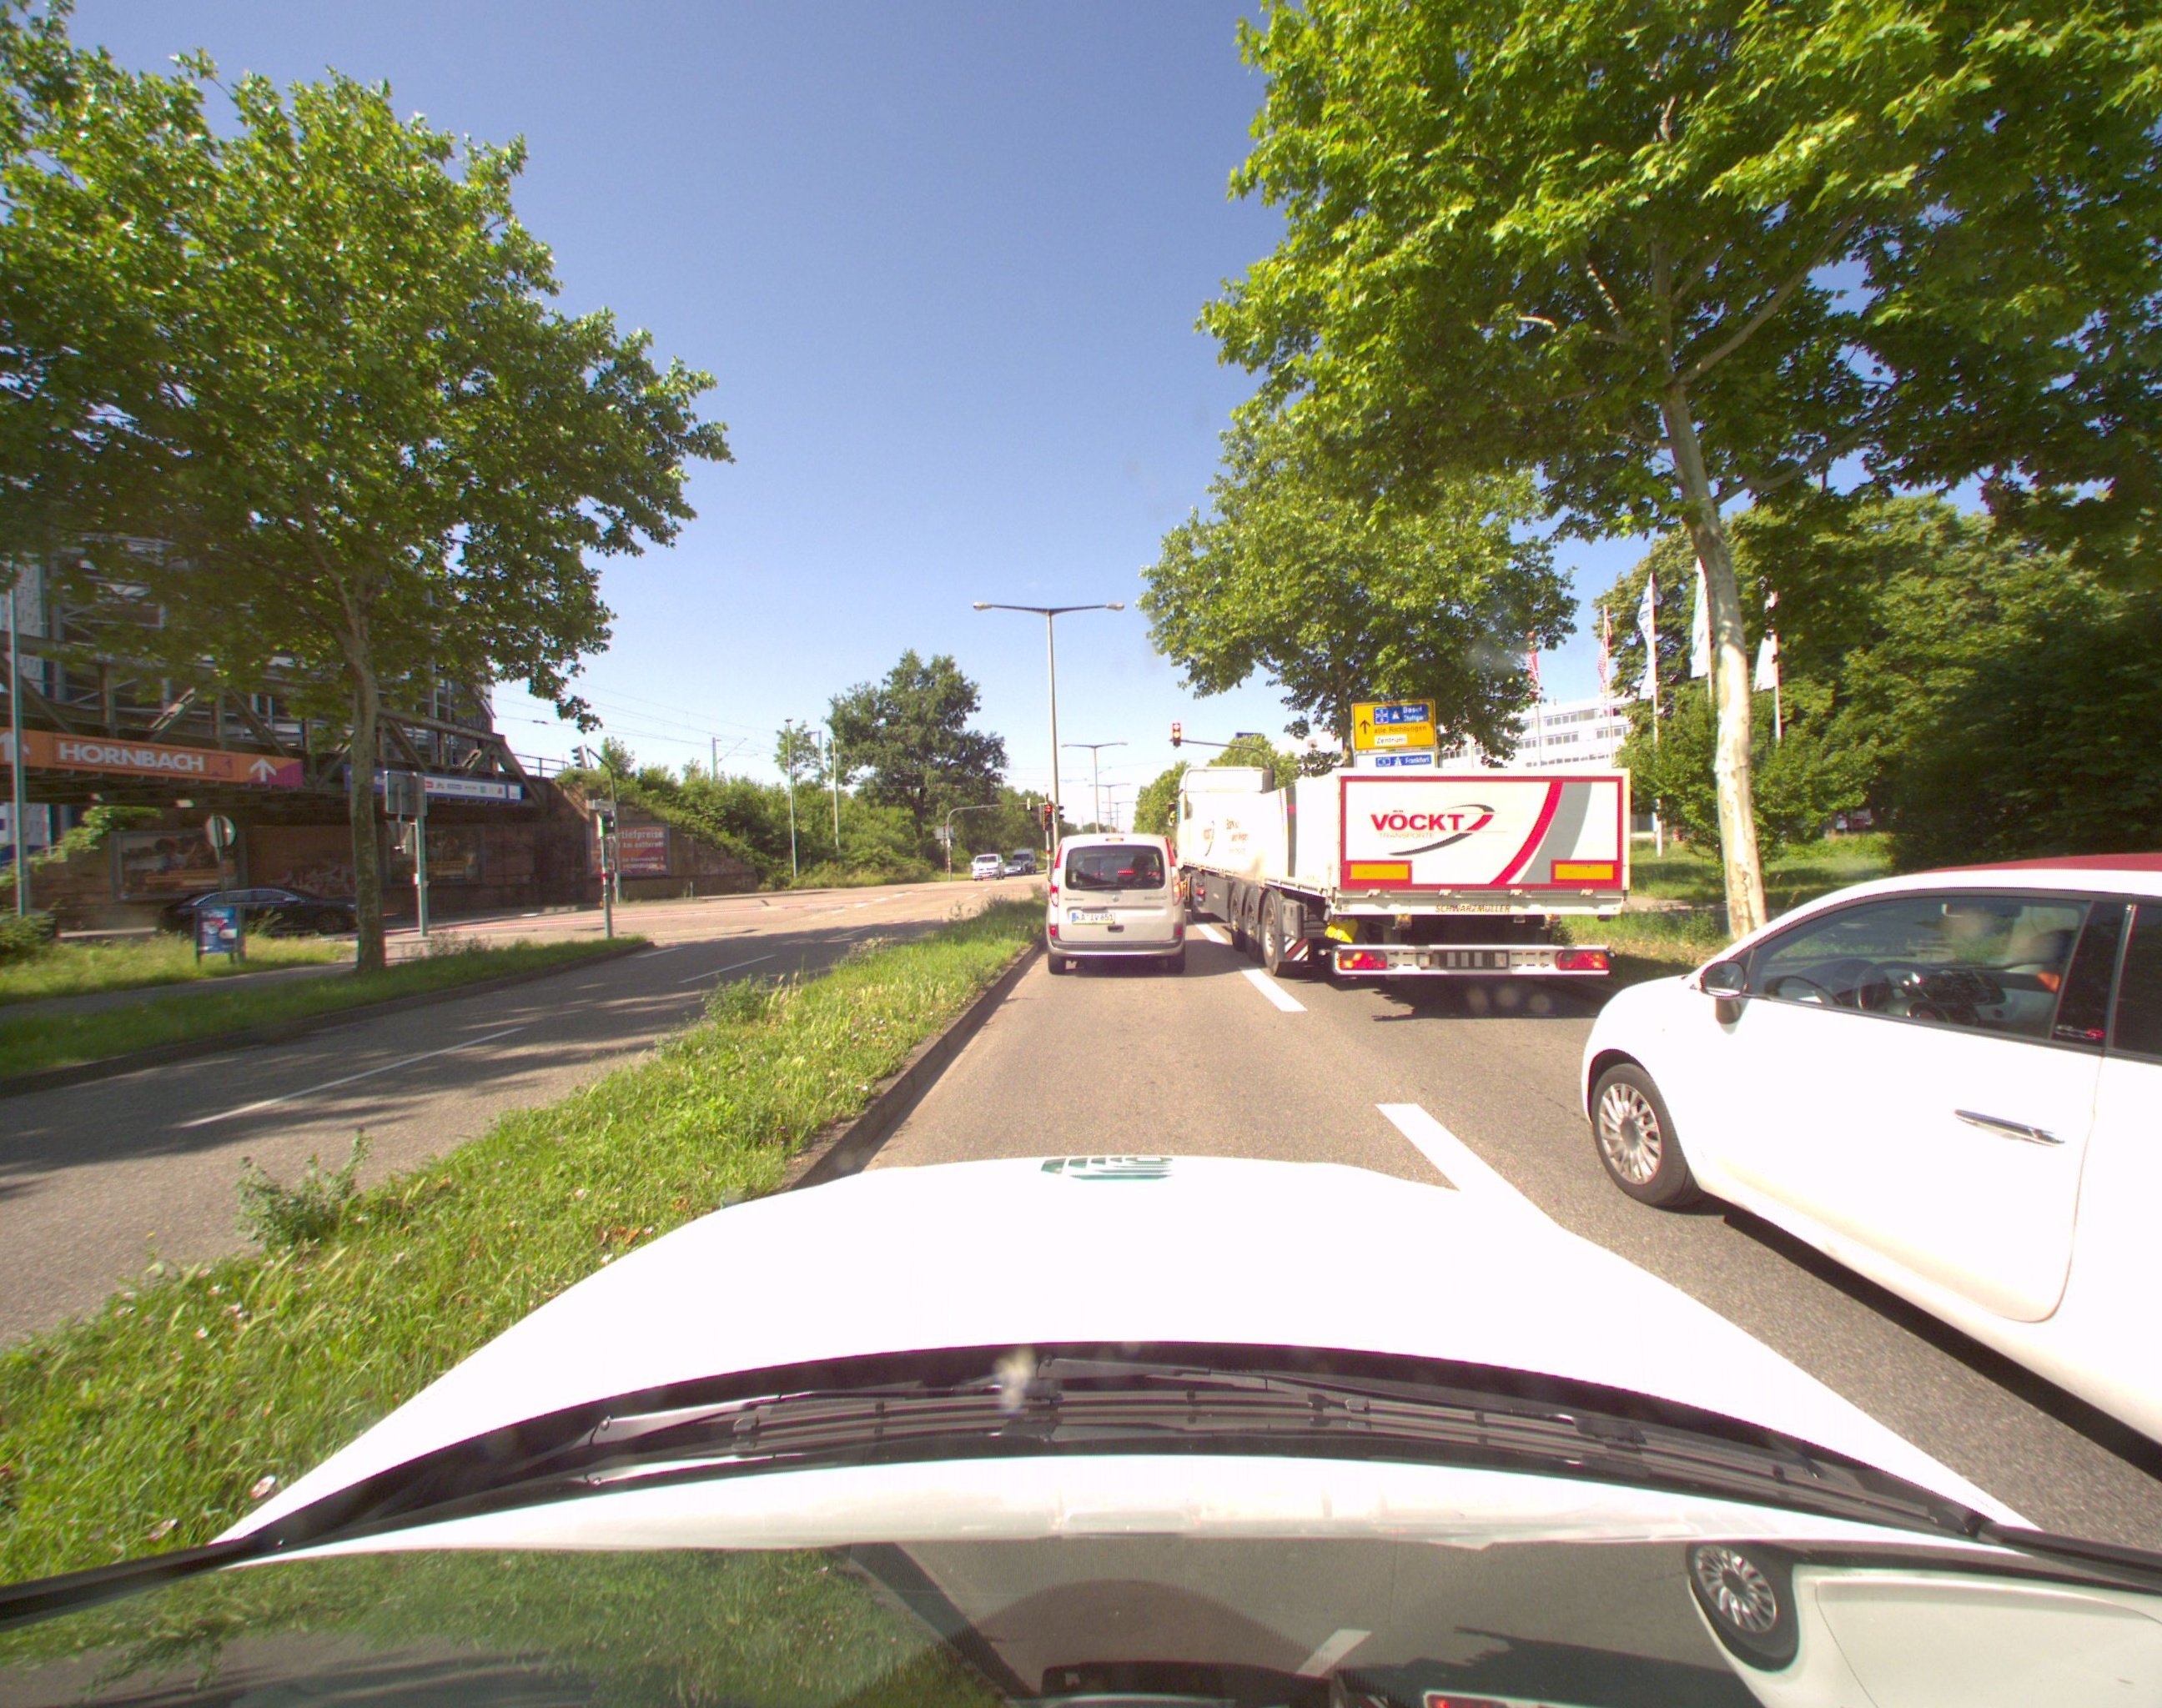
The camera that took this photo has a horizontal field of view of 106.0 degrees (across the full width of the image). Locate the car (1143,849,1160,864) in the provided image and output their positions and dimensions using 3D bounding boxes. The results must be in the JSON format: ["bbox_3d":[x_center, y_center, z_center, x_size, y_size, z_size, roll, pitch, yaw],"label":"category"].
[{"bbox_3d":[9.527,0.308,109.876,1.986,2.014,4.001,-1,0,2],"label":"car"}]

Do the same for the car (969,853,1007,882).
[{"bbox_3d":[-6.778,0.934,59.825,1.986,1.891,4.989,-4,0,2],"label":"car"}]

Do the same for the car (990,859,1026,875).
[{"bbox_3d":[-6.700,1.191,74.284,1.920,1.409,4.193,-1,0,-25],"label":"car"}]

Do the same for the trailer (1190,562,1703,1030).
[{"bbox_3d":[3.769,-0.436,12.731,3.004,3.740,12.248,-1,0,3],"label":"trailer"}]

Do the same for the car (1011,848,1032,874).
[{"bbox_3d":[-6.104,0.708,83.732,2.054,2.614,5.861,-1,0,-4],"label":"car"}]

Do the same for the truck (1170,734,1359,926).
[{"bbox_3d":[4.041,-0.454,19.863,3.060,3.758,7.479,-1,0,2],"label":"truck"}]

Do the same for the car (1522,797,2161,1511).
[{"bbox_3d":[3.050,0.592,2.498,1.654,1.436,3.523,-1,0,4],"label":"car"}]

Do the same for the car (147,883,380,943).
[{"bbox_3d":[-26.062,1.829,26.251,5.074,1.596,1.510,-1,-1,-35],"label":"car"}]

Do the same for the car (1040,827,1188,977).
[{"bbox_3d":[0.467,0.583,11.761,1.742,1.772,3.951,-1,0,2],"label":"car"}]
